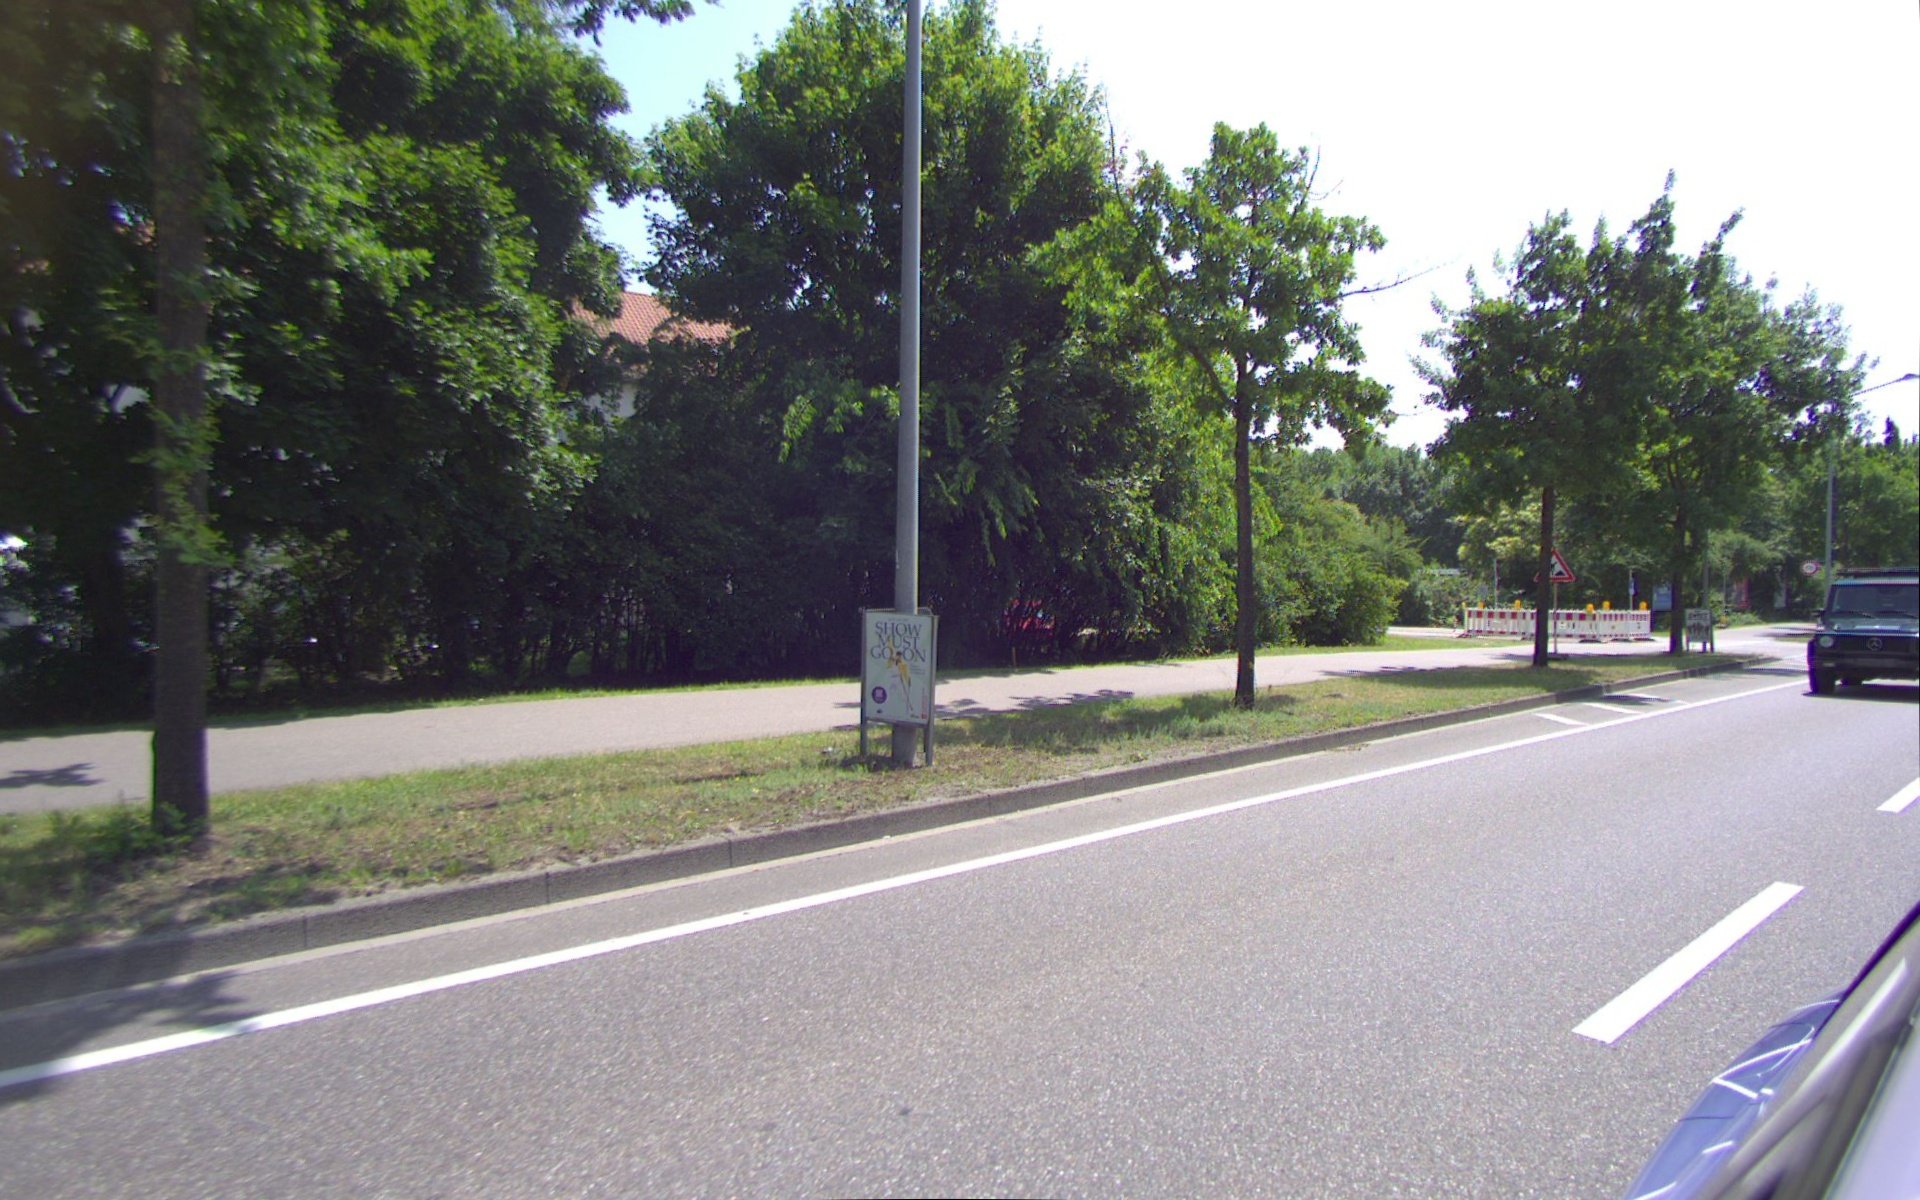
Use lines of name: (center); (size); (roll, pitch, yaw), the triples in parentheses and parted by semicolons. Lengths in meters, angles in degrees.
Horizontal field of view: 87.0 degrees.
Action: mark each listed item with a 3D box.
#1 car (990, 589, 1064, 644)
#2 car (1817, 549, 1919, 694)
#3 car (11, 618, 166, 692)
car: (2.131, 0.492, 33.405); (1.842, 1.682, 4.004); (1, 1, -5)
car: (15.913, 0.306, 16.935); (4.480, 2.180, 1.839); (0, 1, -42)
car: (-15.823, 0.943, 18.530); (1.307, 1.104, 3.199); (0, 1, -25)
